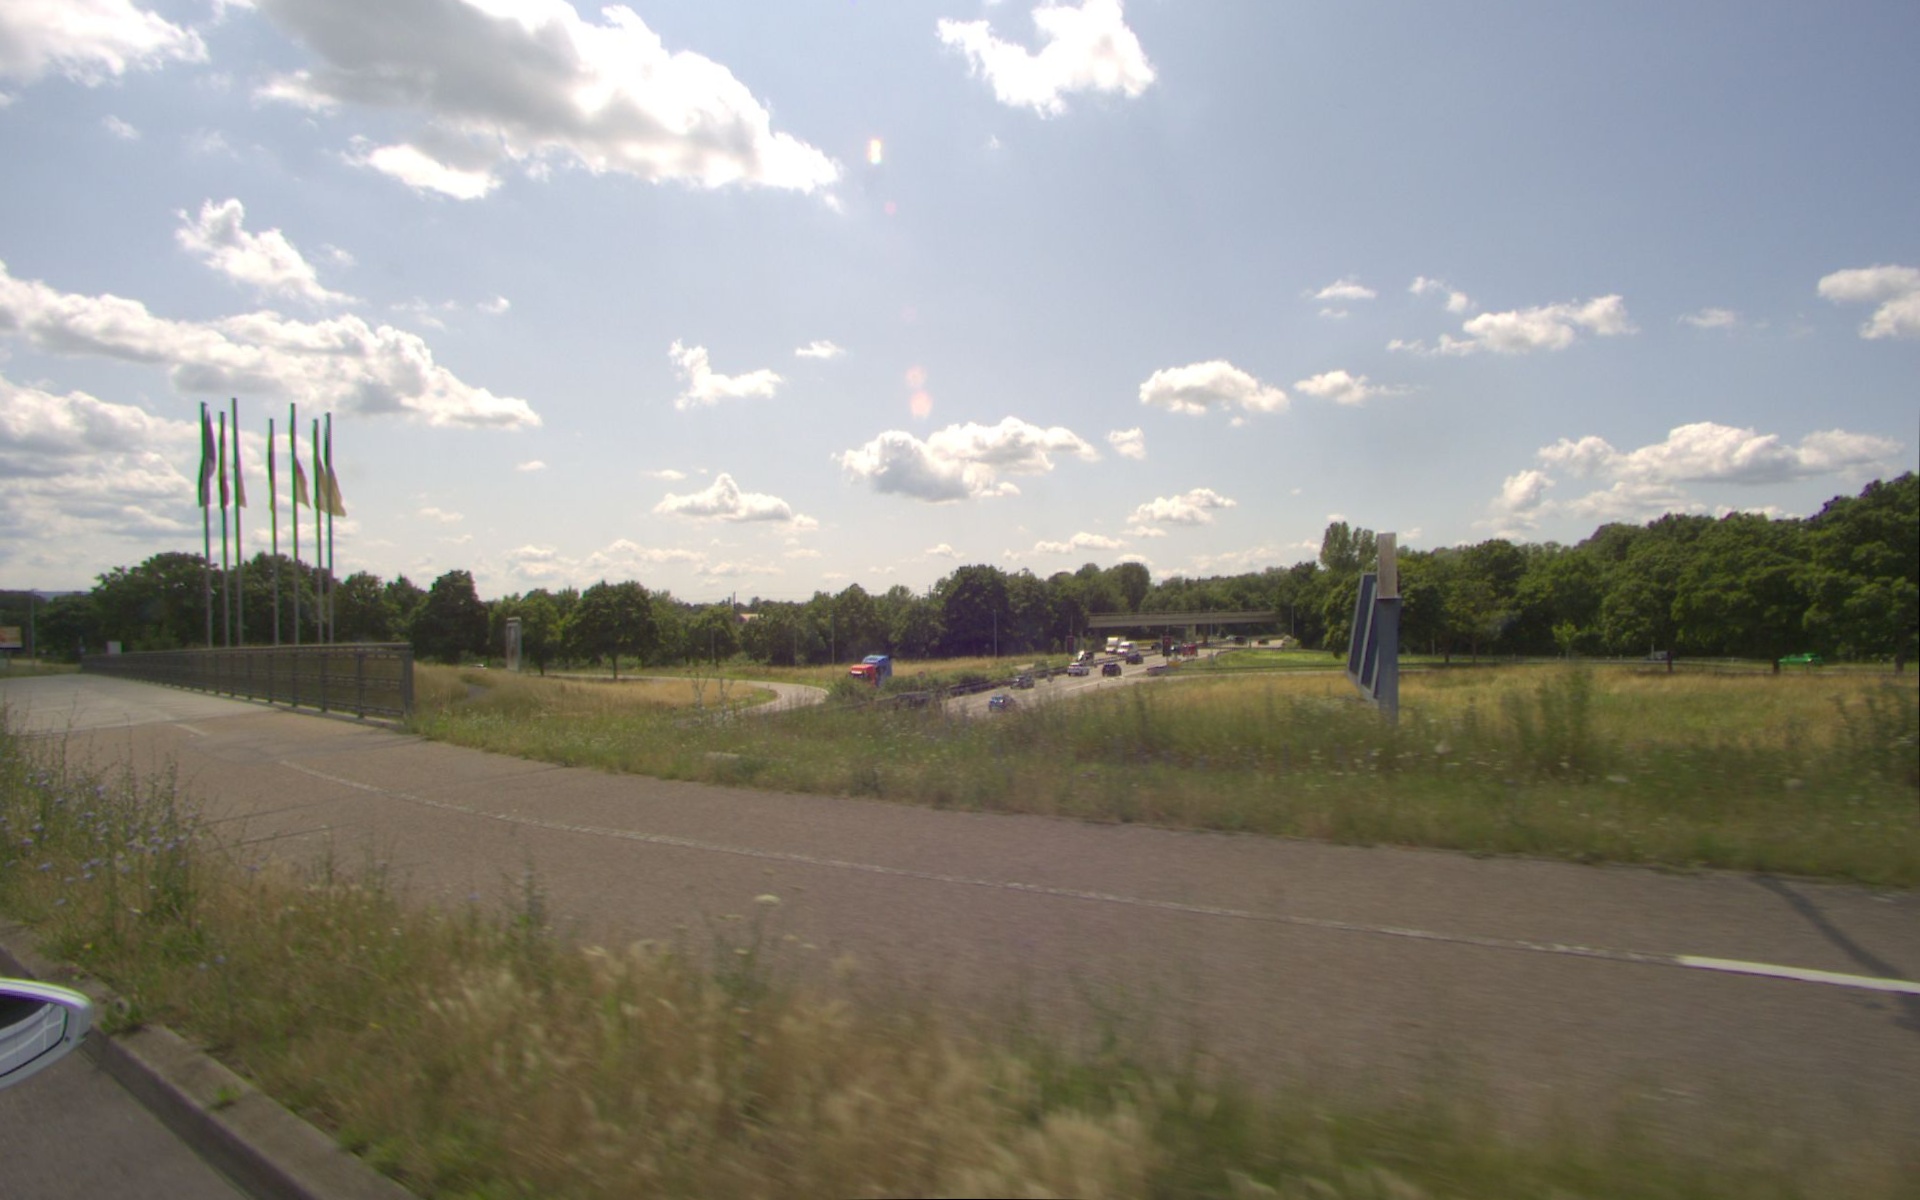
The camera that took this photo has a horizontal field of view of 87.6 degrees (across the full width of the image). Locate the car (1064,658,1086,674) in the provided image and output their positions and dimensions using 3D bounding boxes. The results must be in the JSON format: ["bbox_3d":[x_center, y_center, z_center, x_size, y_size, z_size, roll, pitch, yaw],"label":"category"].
[{"bbox_3d":[15.423,8.768,134.016,1.966,2.039,3.992,0,-2,22],"label":"car"}]

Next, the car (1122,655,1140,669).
[{"bbox_3d":[26.779,9.739,157.139,1.966,2.039,3.992,0,-2,22],"label":"car"}]

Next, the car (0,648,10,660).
[{"bbox_3d":[-138.510,7.767,143.514,3.933,1.683,1.995,-1,-2,23],"label":"car"}]

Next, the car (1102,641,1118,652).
[{"bbox_3d":[28.238,8.802,188.383,1.966,2.039,3.992,0,-2,22],"label":"car"}]

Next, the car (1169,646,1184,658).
[{"bbox_3d":[39.436,9.483,182.102,1.966,2.039,3.992,0,-2,22],"label":"car"}]

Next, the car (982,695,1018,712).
[{"bbox_3d":[3.673,9.388,91.219,1.967,1.304,3.990,-1,-2,24],"label":"car"}]

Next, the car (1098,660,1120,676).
[{"bbox_3d":[19.881,9.007,133.367,1.966,2.039,3.992,0,-2,22],"label":"car"}]

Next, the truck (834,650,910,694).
[{"bbox_3d":[-9.466,7.781,109.233,3.952,4.459,9.606,0,-2,25],"label":"truck"}]

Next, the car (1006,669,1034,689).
[{"bbox_3d":[6.898,9.033,114.659,1.966,2.039,3.992,0,-2,22],"label":"car"}]

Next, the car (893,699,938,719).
[{"bbox_3d":[-3.546,8.705,80.520,1.967,1.304,3.990,-1,-2,24],"label":"car"}]

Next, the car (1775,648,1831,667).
[{"bbox_3d":[85.158,5.796,101.183,1.962,1.905,4.000,1,-2,-8],"label":"car"}]

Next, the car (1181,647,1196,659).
[{"bbox_3d":[40.135,9.240,175.919,1.966,2.039,3.992,0,-2,22],"label":"car"}]

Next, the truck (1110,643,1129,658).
[{"bbox_3d":[29.142,9.220,182.832,1.966,2.736,6.605,0,-2,22],"label":"truck"}]
